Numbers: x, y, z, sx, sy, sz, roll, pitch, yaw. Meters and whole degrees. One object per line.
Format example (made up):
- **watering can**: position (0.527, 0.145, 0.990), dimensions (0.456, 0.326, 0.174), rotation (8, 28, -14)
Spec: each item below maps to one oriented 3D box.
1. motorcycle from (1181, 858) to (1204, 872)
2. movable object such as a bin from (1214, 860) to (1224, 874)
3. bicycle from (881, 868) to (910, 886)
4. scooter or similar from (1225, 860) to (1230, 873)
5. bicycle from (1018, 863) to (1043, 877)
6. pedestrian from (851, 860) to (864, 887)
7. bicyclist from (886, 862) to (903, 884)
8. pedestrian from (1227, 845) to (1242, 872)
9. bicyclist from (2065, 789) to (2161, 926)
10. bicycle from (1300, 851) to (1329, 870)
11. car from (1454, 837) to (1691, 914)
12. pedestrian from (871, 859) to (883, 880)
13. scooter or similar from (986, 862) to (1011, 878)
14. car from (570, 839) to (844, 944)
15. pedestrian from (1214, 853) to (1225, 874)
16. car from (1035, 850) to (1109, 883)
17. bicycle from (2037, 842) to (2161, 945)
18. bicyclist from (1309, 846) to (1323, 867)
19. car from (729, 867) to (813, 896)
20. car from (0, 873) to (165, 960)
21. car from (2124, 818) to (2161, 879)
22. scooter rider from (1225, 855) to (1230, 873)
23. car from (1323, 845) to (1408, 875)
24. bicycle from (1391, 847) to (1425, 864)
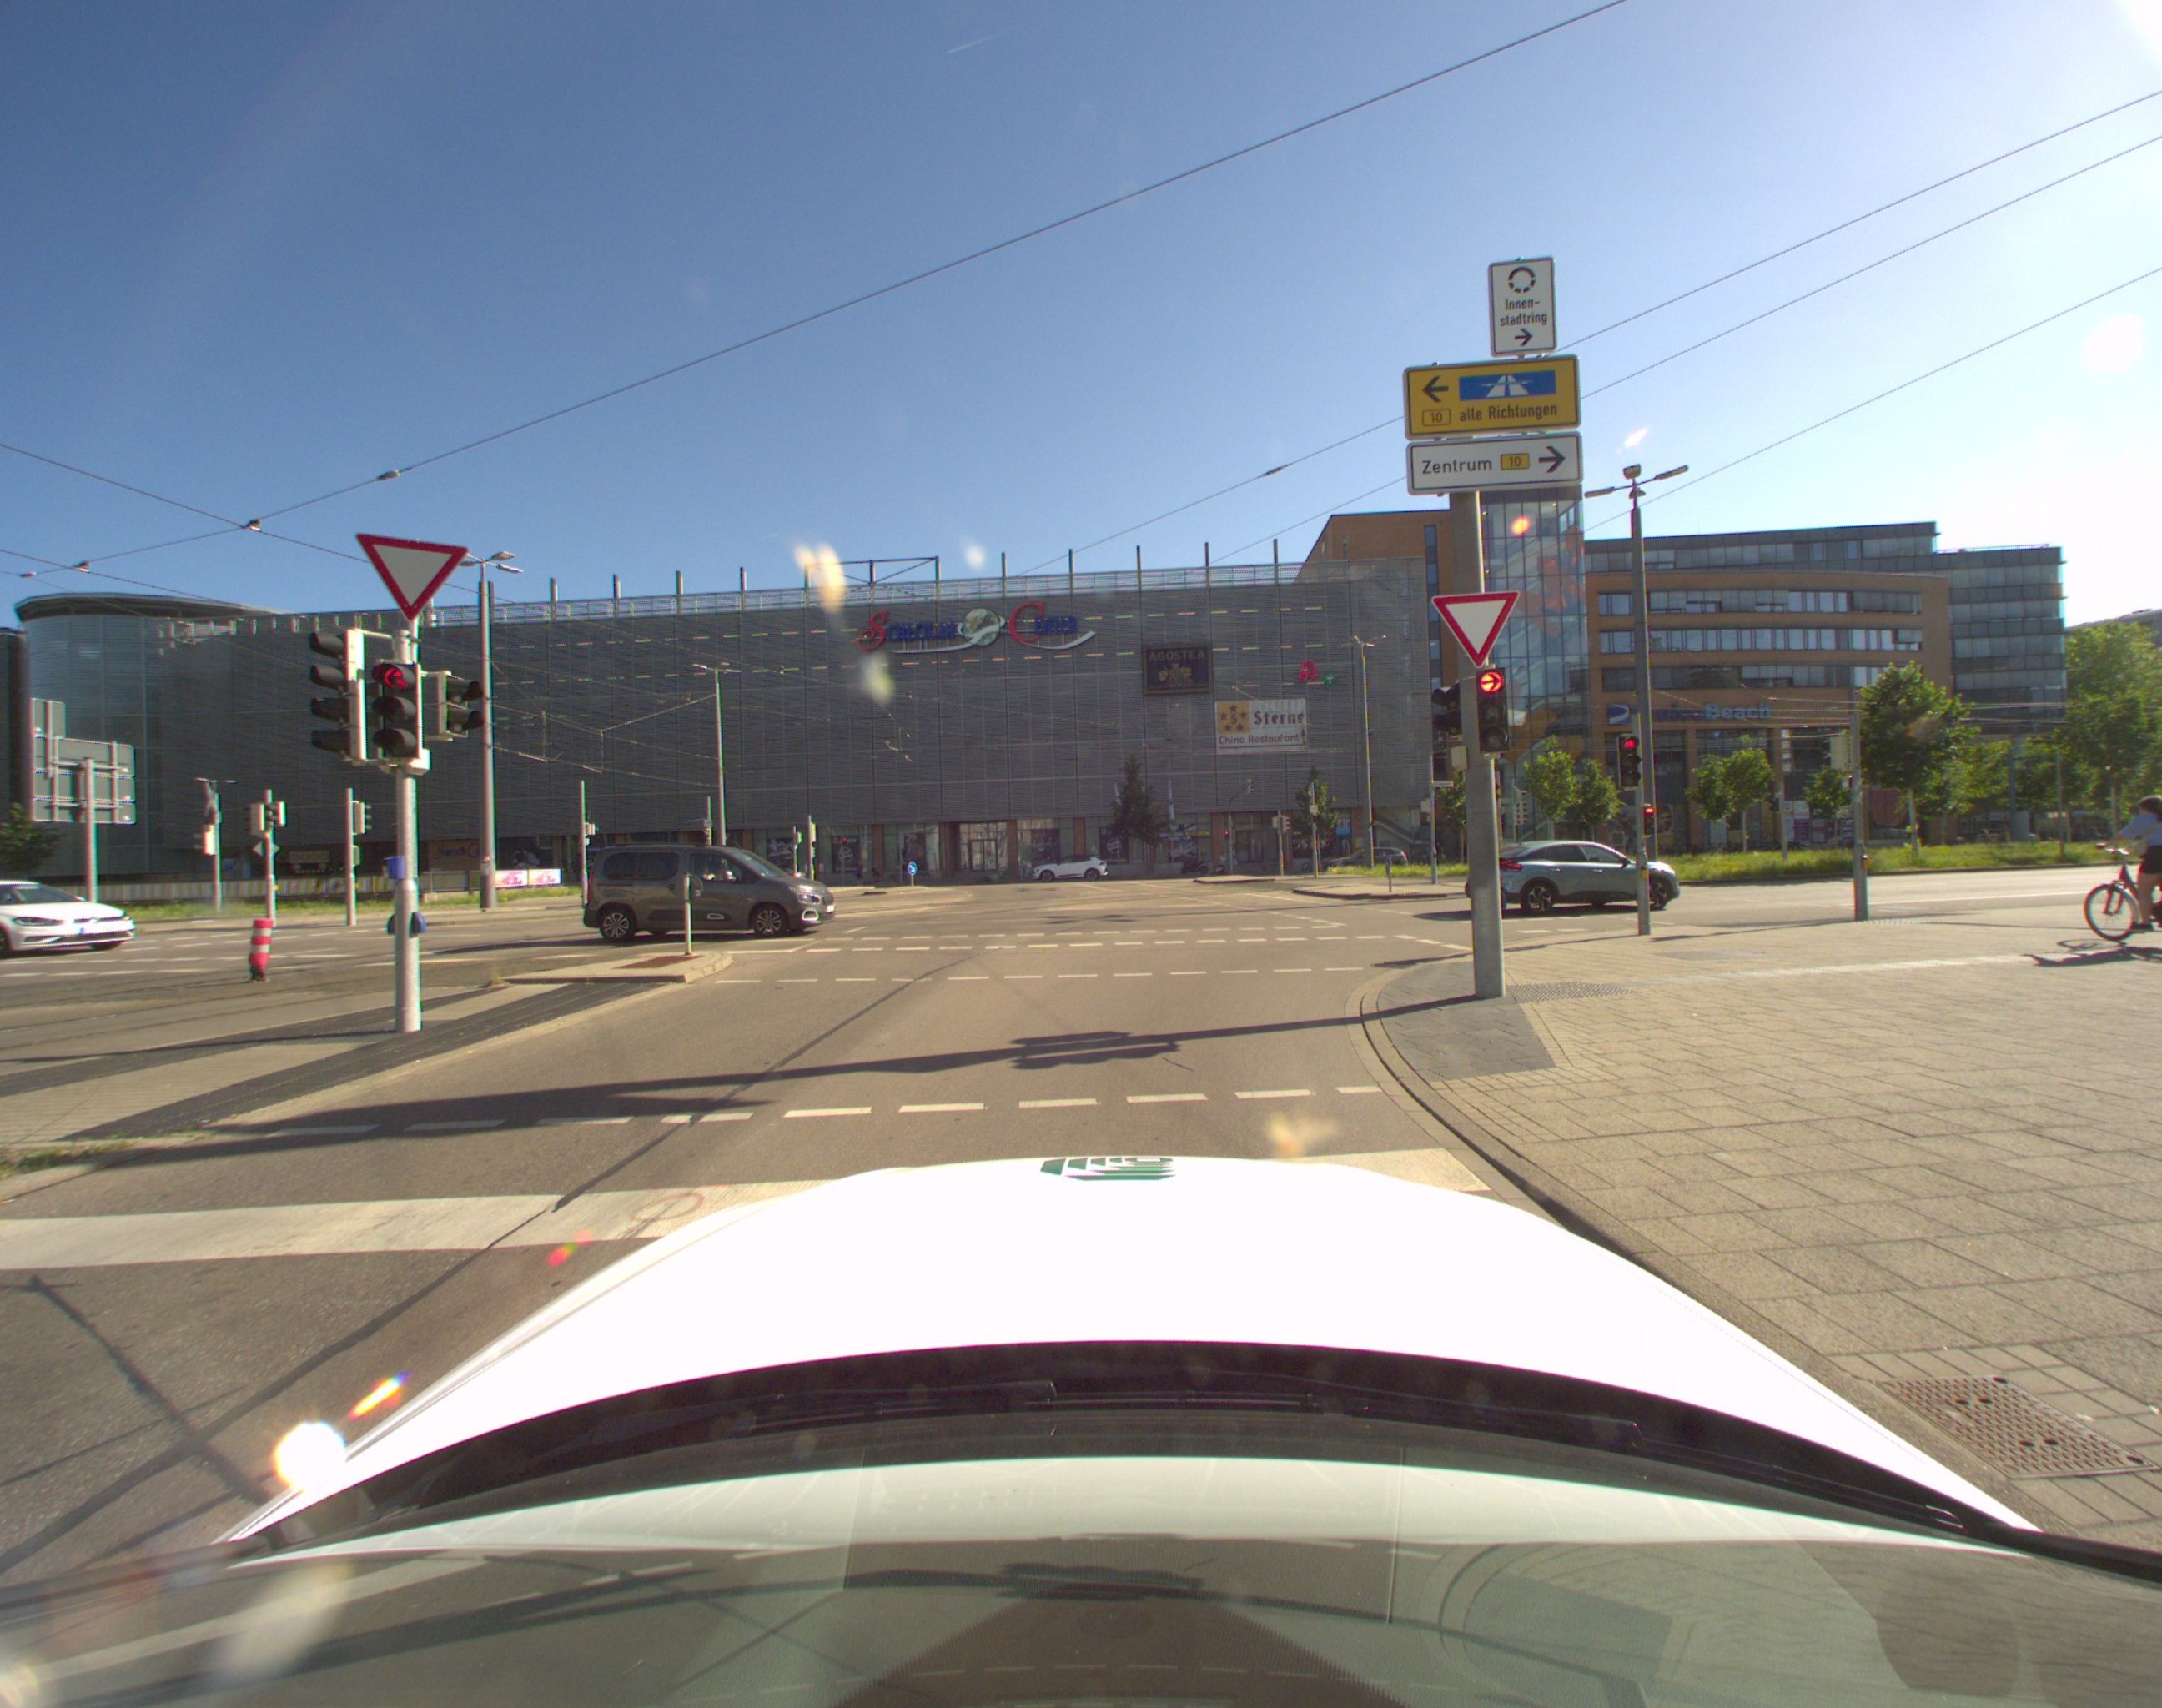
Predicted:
- **motorcycle**: position (8.307, 0.822, 60.591), dimensions (1.630, 1.004, 0.448), rotation (0, 0, 8)
- **movable object such as a bin**: position (9.266, 0.874, 54.735), dimensions (0.608, 0.904, 0.972), rotation (-1, -1, 12)
- **bicycle**: position (-12.591, 1.576, 55.304), dimensions (0.562, 1.086, 1.874), rotation (-1, 2, 45)
- **scooter or similar**: position (9.914, 0.861, 55.003), dimensions (0.293, 0.873, 1.007), rotation (-1, -1, 12)
- **bicycle**: position (-3.787, 1.165, 60.785), dimensions (1.815, 0.989, 0.556), rotation (-2, 1, -8)
- **pedestrian**: position (-15.208, 1.302, 55.456), dimensions (0.695, 1.797, 0.727), rotation (-3, 0, -14)
- **bicyclist**: position (-12.634, 1.266, 55.232), dimensions (0.667, 1.427, 0.855), rotation (-1, 2, 45)
- **pedestrian**: position (11.196, 0.334, 59.397), dimensions (0.945, 1.829, 0.847), rotation (-3, -4, 7)
- **bicyclist**: position (11.728, 0.042, 8.978), dimensions (0.661, 1.436, 0.945), rotation (-2, -3, 20)
- **bicycle**: position (16.390, 0.462, 57.166), dimensions (1.850, 1.217, 0.569), rotation (-2, 1, 1)
- **car**: position (10.524, 0.423, 17.571), dimensions (4.260, 1.514, 1.705), rotation (-1, 0, -7)
- **pedestrian**: position (-15.559, 1.182, 62.091), dimensions (0.654, 1.601, 0.597), rotation (-1, -1, 20)
- **scooter or similar**: position (-6.190, 1.195, 61.226), dimensions (1.790, 1.066, 0.611), rotation (-2, 1, -6)
- **car**: position (-7.085, 0.684, 15.799), dimensions (4.449, 1.791, 1.707), rotation (-2, 0, -4)
- **pedestrian**: position (9.399, 0.623, 55.198), dimensions (0.650, 1.414, 0.853), rotation (-1, -1, 12)
- **car**: position (-0.523, 0.763, 48.964), dimensions (4.311, 1.863, 1.841), rotation (-1, -1, 1)
- **bicycle**: position (11.762, 0.425, 8.995), dimensions (0.661, 1.072, 1.828), rotation (-1, -2, 18)
- **bicyclist**: position (16.487, 0.181, 57.151), dimensions (0.750, 1.386, 0.566), rotation (-2, 1, 1)
- **car**: position (-18.835, 1.668, 49.595), dimensions (4.274, 1.584, 1.841), rotation (2, -1, 1)
- **car**: position (-20.617, 1.193, 15.518), dimensions (4.265, 1.472, 1.867), rotation (-2, 0, 3)
- **car**: position (28.231, -0.179, 19.532), dimensions (4.664, 1.462, 1.829), rotation (-1, 0, -7)
- **scooter rider**: position (9.902, 0.698, 54.944), dimensions (0.286, 1.200, 0.387), rotation (-1, -1, 12)
- **car**: position (15.878, 0.341, 45.616), dimensions (4.132, 1.470, 1.841), rotation (2, -1, 0)
- **bicycle**: position (24.337, 0.104, 60.615), dimensions (2.247, 1.296, 0.606), rotation (0, -1, 0)
